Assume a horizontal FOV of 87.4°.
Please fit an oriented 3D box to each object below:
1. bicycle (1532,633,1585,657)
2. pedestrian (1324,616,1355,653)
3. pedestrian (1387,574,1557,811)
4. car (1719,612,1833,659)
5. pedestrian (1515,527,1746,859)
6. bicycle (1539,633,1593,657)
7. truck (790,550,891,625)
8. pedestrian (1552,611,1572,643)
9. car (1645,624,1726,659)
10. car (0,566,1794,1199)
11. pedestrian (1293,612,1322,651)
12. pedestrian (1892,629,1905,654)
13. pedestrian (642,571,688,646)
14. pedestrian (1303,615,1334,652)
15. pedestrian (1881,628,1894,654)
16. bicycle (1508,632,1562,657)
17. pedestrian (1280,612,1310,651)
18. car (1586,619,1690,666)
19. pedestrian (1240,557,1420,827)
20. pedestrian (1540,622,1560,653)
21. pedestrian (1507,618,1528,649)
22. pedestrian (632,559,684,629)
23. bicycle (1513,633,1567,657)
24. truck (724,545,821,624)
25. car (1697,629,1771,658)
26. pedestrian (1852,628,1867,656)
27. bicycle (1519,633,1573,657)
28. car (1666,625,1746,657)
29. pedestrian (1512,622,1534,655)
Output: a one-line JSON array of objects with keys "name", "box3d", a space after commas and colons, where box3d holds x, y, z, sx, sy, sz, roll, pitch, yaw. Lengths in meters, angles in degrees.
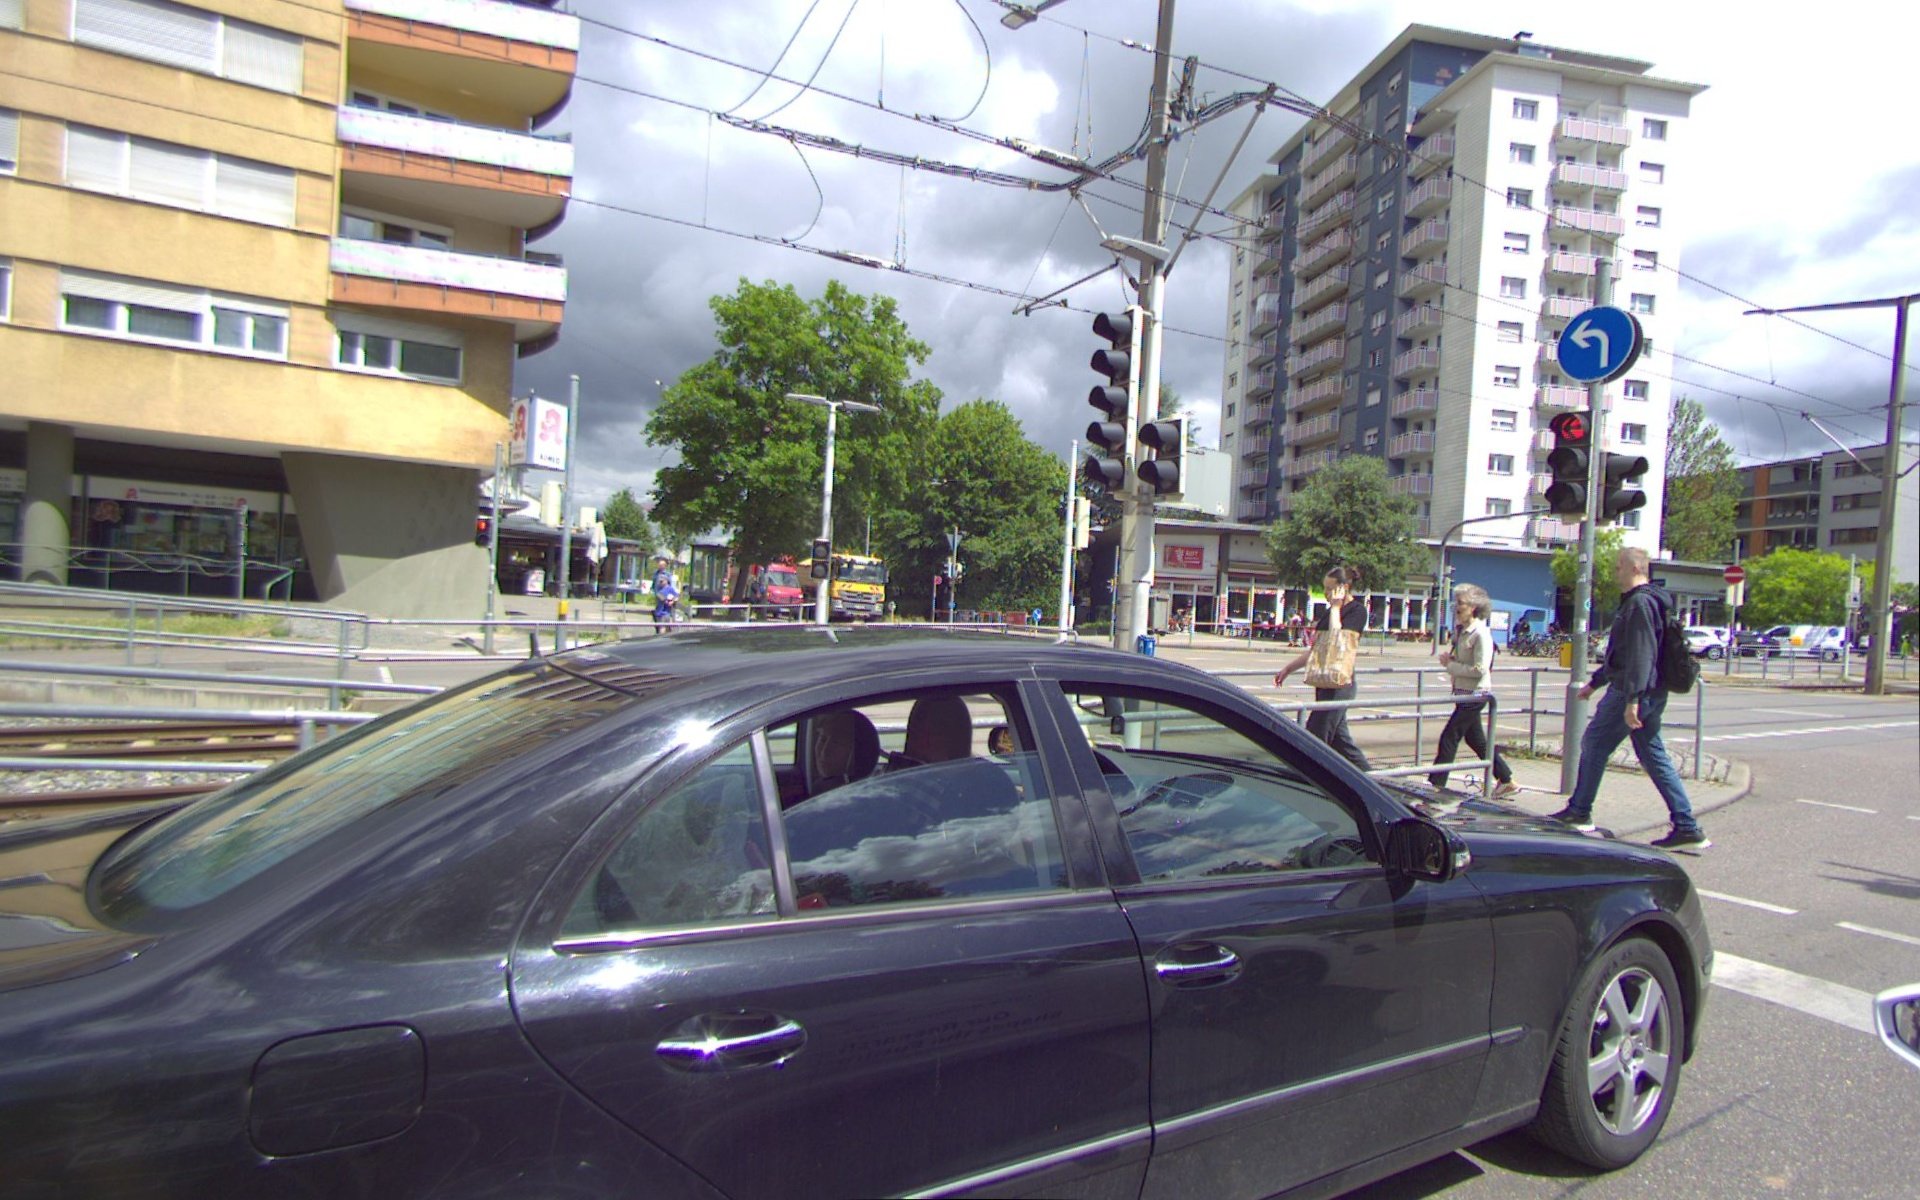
[{"name": "bicycle", "box3d": [25.772, 1.936, 43.300, 0.490, 0.947, 1.933, 2, 0, -35]}, {"name": "pedestrian", "box3d": [17.690, 1.586, 46.836, 0.977, 1.681, 0.969, 2, -1, -4]}, {"name": "pedestrian", "box3d": [3.912, 0.673, 7.753, 0.936, 1.696, 0.871, 1, -1, 10]}, {"name": "car", "box3d": [47.515, 2.000, 58.741, 2.776, 2.511, 6.724, 2, 0, 17]}, {"name": "pedestrian", "box3d": [4.389, 0.551, 6.606, 0.888, 1.968, 0.960, 1, 1, -34]}, {"name": "bicycle", "box3d": [26.290, 1.955, 43.593, 0.490, 0.947, 1.933, 2, 0, -35]}, {"name": "truck", "box3d": [-5.837, -0.563, 47.969, 2.733, 3.244, 7.442, 2, 0, -23]}, {"name": "pedestrian", "box3d": [37.017, 1.635, 61.746, 0.854, 1.942, 1.210, 2, 1, 38]}, {"name": "car", "box3d": [37.883, 2.133, 52.573, 1.921, 1.591, 4.220, 2, 0, 13]}, {"name": "car", "box3d": [0.120, 0.741, 2.620, 4.491, 1.481, 1.720, 2, 0, -30]}, {"name": "pedestrian", "box3d": [15.548, 1.392, 44.954, 1.077, 1.681, 0.948, 2, -1, 12]}, {"name": "pedestrian", "box3d": [66.101, 2.947, 70.747, 0.663, 1.739, 0.542, 1, 0, -40]}, {"name": "pedestrian", "box3d": [-6.760, 0.185, 23.010, 0.774, 1.638, 0.756, -2, 5, -42]}, {"name": "pedestrian", "box3d": [16.592, 1.549, 46.491, 0.977, 1.681, 0.969, 2, -1, -4]}, {"name": "pedestrian", "box3d": [64.870, 2.873, 70.260, 0.401, 1.739, 0.542, 1, 0, -39]}, {"name": "bicycle", "box3d": [24.140, 1.877, 42.184, 0.490, 0.947, 1.933, 2, 0, -35]}, {"name": "pedestrian", "box3d": [14.725, 1.378, 44.189, 1.077, 1.681, 0.948, 2, -1, 12]}, {"name": "car", "box3d": [26.908, 1.683, 39.863, 3.827, 1.715, 1.928, 2, 0, -30]}, {"name": "pedestrian", "box3d": [2.662, 0.606, 7.247, 0.766, 1.789, 0.925, 1, 1, -41]}, {"name": "pedestrian", "box3d": [32.281, 2.032, 54.952, 0.693, 1.637, 0.760, 1, 0, -43]}, {"name": "pedestrian", "box3d": [29.845, 1.784, 53.743, 0.693, 1.637, 0.760, 1, 0, -42]}, {"name": "pedestrian", "box3d": [-7.515, -0.133, 25.041, 0.751, 1.636, 0.780, 8, 1, 22]}, {"name": "bicycle", "box3d": [24.515, 1.891, 42.457, 0.490, 0.947, 1.933, 2, 0, -35]}, {"name": "truck", "box3d": [-9.045, -0.692, 47.484, 2.692, 3.320, 8.876, 2, 0, -23]}, {"name": "car", "box3d": [43.307, 2.391, 56.298, 1.754, 1.439, 4.219, 2, 0, 15]}, {"name": "pedestrian", "box3d": [57.705, 2.708, 64.432, 0.400, 1.739, 0.544, 1, 0, -30]}, {"name": "bicycle", "box3d": [24.924, 1.906, 42.747, 0.490, 0.947, 1.933, 2, 0, -35]}, {"name": "car", "box3d": [40.400, 2.190, 54.534, 1.921, 1.558, 4.220, 2, 0, 13]}, {"name": "pedestrian", "box3d": [29.037, 1.992, 51.784, 0.693, 1.637, 0.759, 1, 0, -43]}]
